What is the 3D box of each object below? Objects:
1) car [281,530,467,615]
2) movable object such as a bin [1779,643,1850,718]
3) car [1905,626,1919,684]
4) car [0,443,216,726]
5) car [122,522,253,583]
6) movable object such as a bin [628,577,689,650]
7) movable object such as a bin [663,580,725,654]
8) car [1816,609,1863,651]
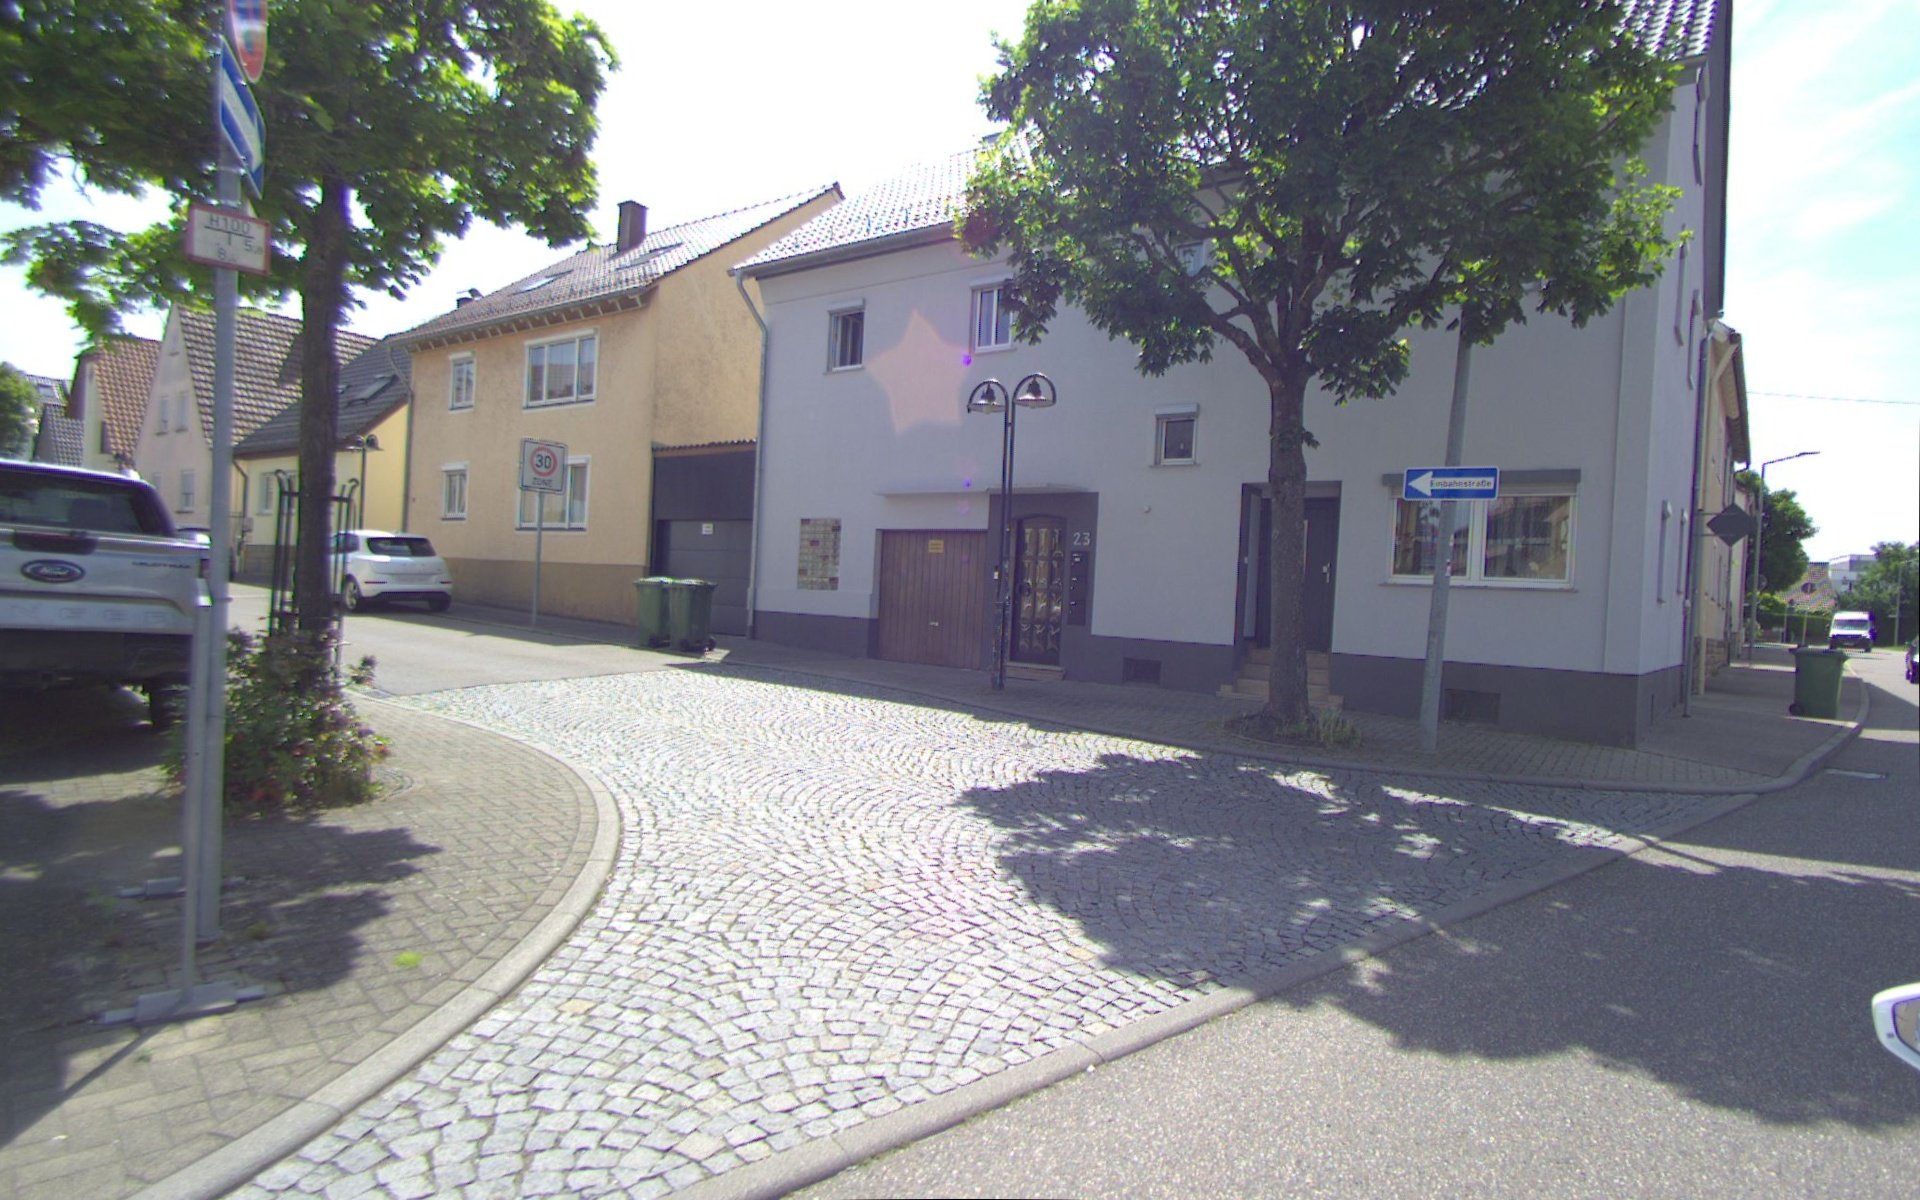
[{"bbox_3d":[-12.073,-0.582,20.631,3.933,1.535,1.784,4,2,34],"label":"car"},{"bbox_3d":[13.453,1.253,15.822,0.675,1.074,0.746,1,2,-44],"label":"movable object such as a bin"},{"bbox_3d":[28.008,1.559,28.436,1.780,1.576,4.046,2,0,44],"label":"car"},{"bbox_3d":[-8.258,-0.206,8.660,5.052,1.922,2.162,3,1,44],"label":"car"},{"bbox_3d":[-20.866,-1.291,27.101,3.773,1.496,1.665,3,1,33],"label":"car"},{"bbox_3d":[-4.753,0.207,15.867,0.638,1.087,0.626,3,1,32],"label":"movable object such as a bin"},{"bbox_3d":[-4.102,0.250,15.475,0.638,1.087,0.626,3,1,32],"label":"movable object such as a bin"},{"bbox_3d":[57.920,1.946,66.246,2.089,2.597,5.800,3,1,40],"label":"car"}]
